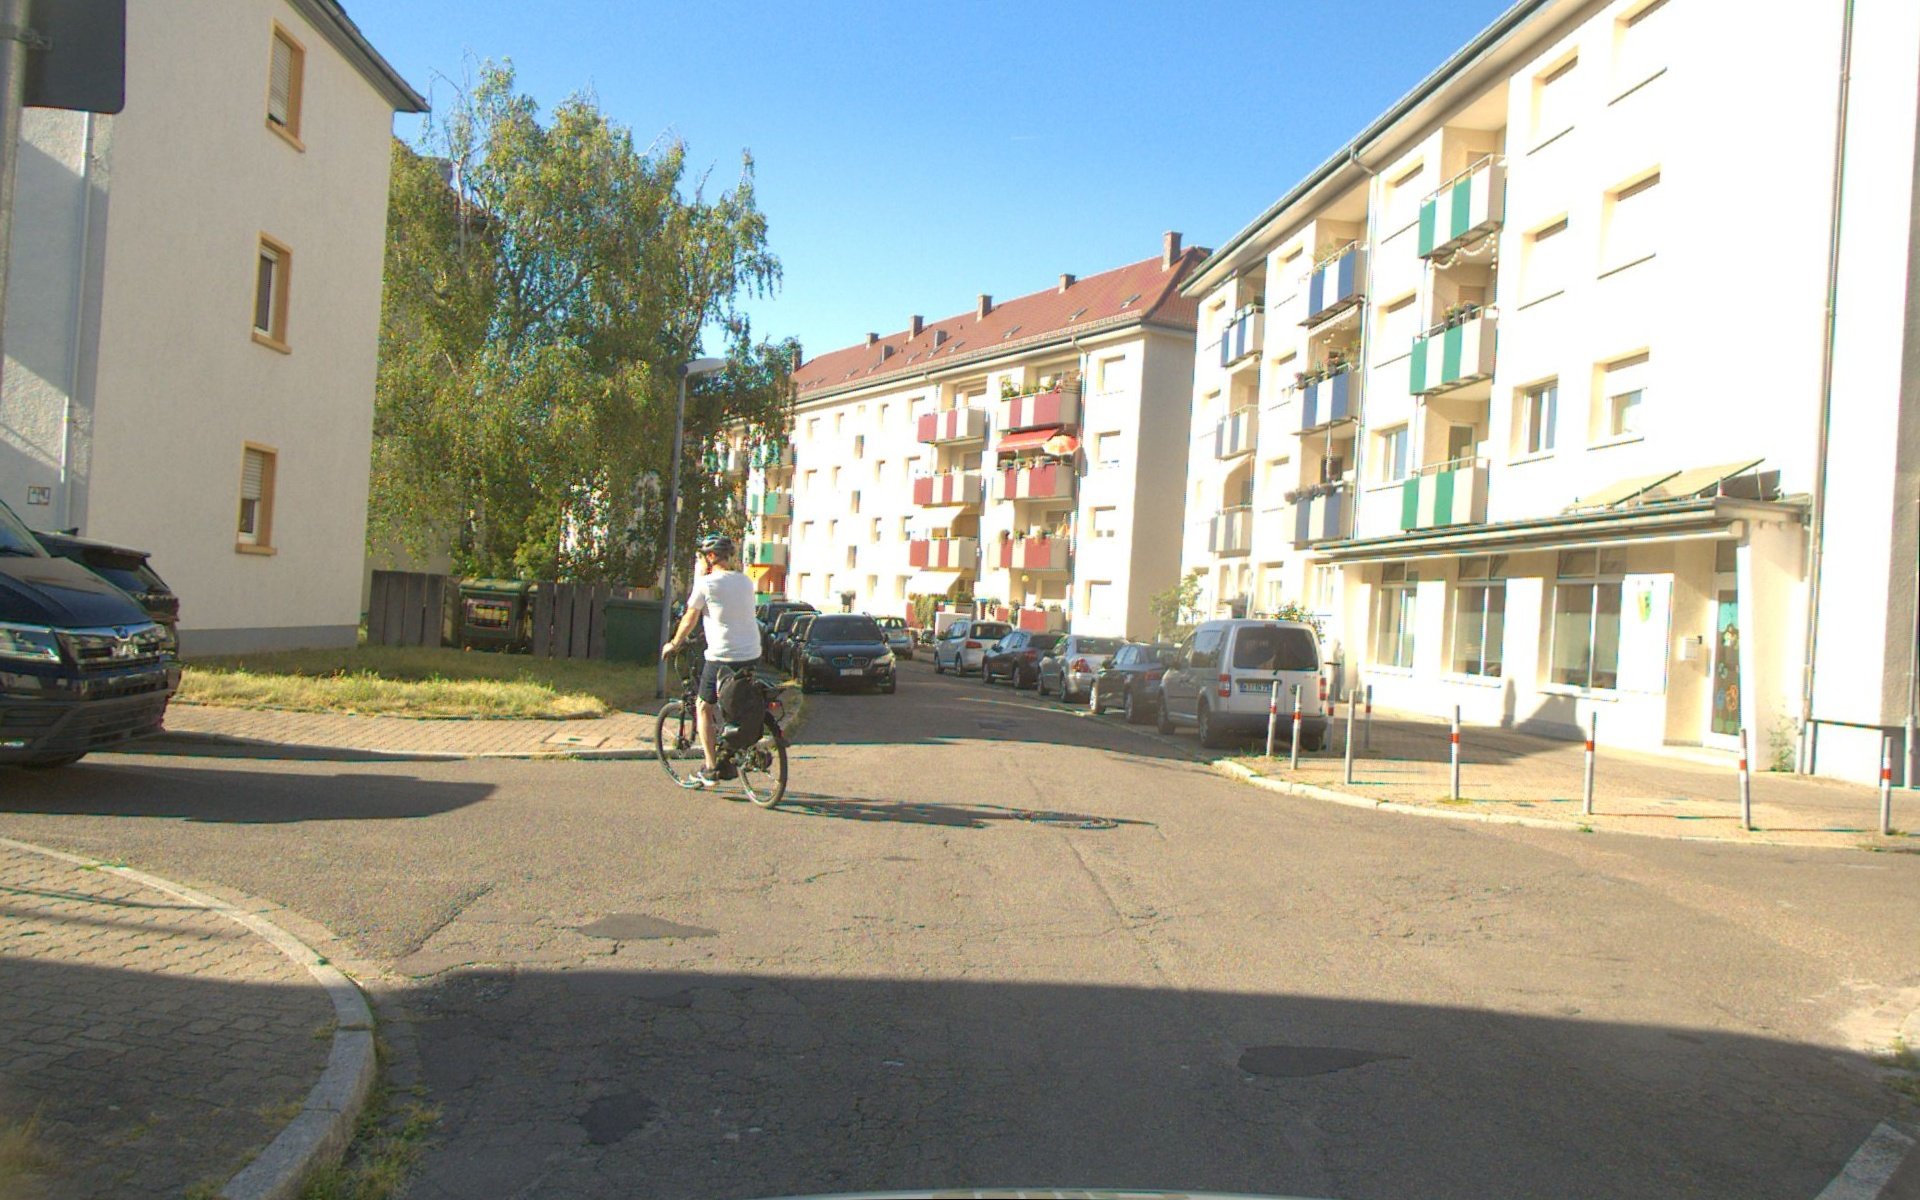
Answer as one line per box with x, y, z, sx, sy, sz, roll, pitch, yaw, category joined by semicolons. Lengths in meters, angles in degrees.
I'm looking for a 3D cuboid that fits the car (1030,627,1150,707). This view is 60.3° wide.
2.804;1.431;36.729;1.646;1.472;4.716;3;0;-8;car

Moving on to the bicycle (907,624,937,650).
-1.627;1.575;70.708;0.609;0.995;1.882;0;2;-23;bicycle

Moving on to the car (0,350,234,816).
-7.898;-0.252;10.140;5.823;2.589;1.999;3;-1;-3;car

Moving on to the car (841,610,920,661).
-2.979;1.296;61.297;1.740;1.664;4.017;2;1;-21;car

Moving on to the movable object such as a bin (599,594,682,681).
-5.561;0.649;28.832;1.195;1.404;0.767;4;-1;1;movable object such as a bin

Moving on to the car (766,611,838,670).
-4.156;1.024;43.186;1.527;1.468;3.958;1;0;-10;car

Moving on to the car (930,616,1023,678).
0.430;1.366;49.082;1.665;1.684;4.373;2;-1;-14;car

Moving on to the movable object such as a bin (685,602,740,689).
-4.247;0.770;28.471;0.760;1.417;1.416;3;-1;-4;movable object such as a bin

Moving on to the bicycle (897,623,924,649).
-2.110;1.535;70.195;0.491;1.037;1.828;2;0;-24;bicycle

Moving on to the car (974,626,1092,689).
1.802;1.439;42.497;1.666;1.457;4.669;2;-1;-15;car

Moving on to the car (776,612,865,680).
-3.265;1.021;38.050;1.648;1.468;4.269;1;0;-10;car

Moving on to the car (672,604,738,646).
-9.861;0.927;63.766;1.669;1.413;4.132;3;0;-20;car

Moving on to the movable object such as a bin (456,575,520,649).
-9.625;0.248;33.754;1.040;1.460;1.002;2;-1;-5;movable object such as a bin

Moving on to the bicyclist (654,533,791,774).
-1.674;0.363;11.602;0.589;1.606;0.899;4;-1;-28;bicyclist

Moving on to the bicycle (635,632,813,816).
-1.685;0.829;11.569;0.620;1.134;1.800;4;-1;-27;bicycle

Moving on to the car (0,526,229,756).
-8.518;0.256;13.313;4.398;1.693;1.718;3;-2;-2;car

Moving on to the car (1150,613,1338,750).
4.171;1.148;24.938;1.713;1.856;4.126;1;0;-6;car

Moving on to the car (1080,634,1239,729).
3.581;1.442;30.515;1.647;1.431;4.536;3;0;-9;car

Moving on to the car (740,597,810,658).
-5.531;0.793;49.080;1.529;1.744;4.322;1;0;-14;car

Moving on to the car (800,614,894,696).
-2.311;1.045;33.003;1.646;1.478;4.613;1;0;-7;car
